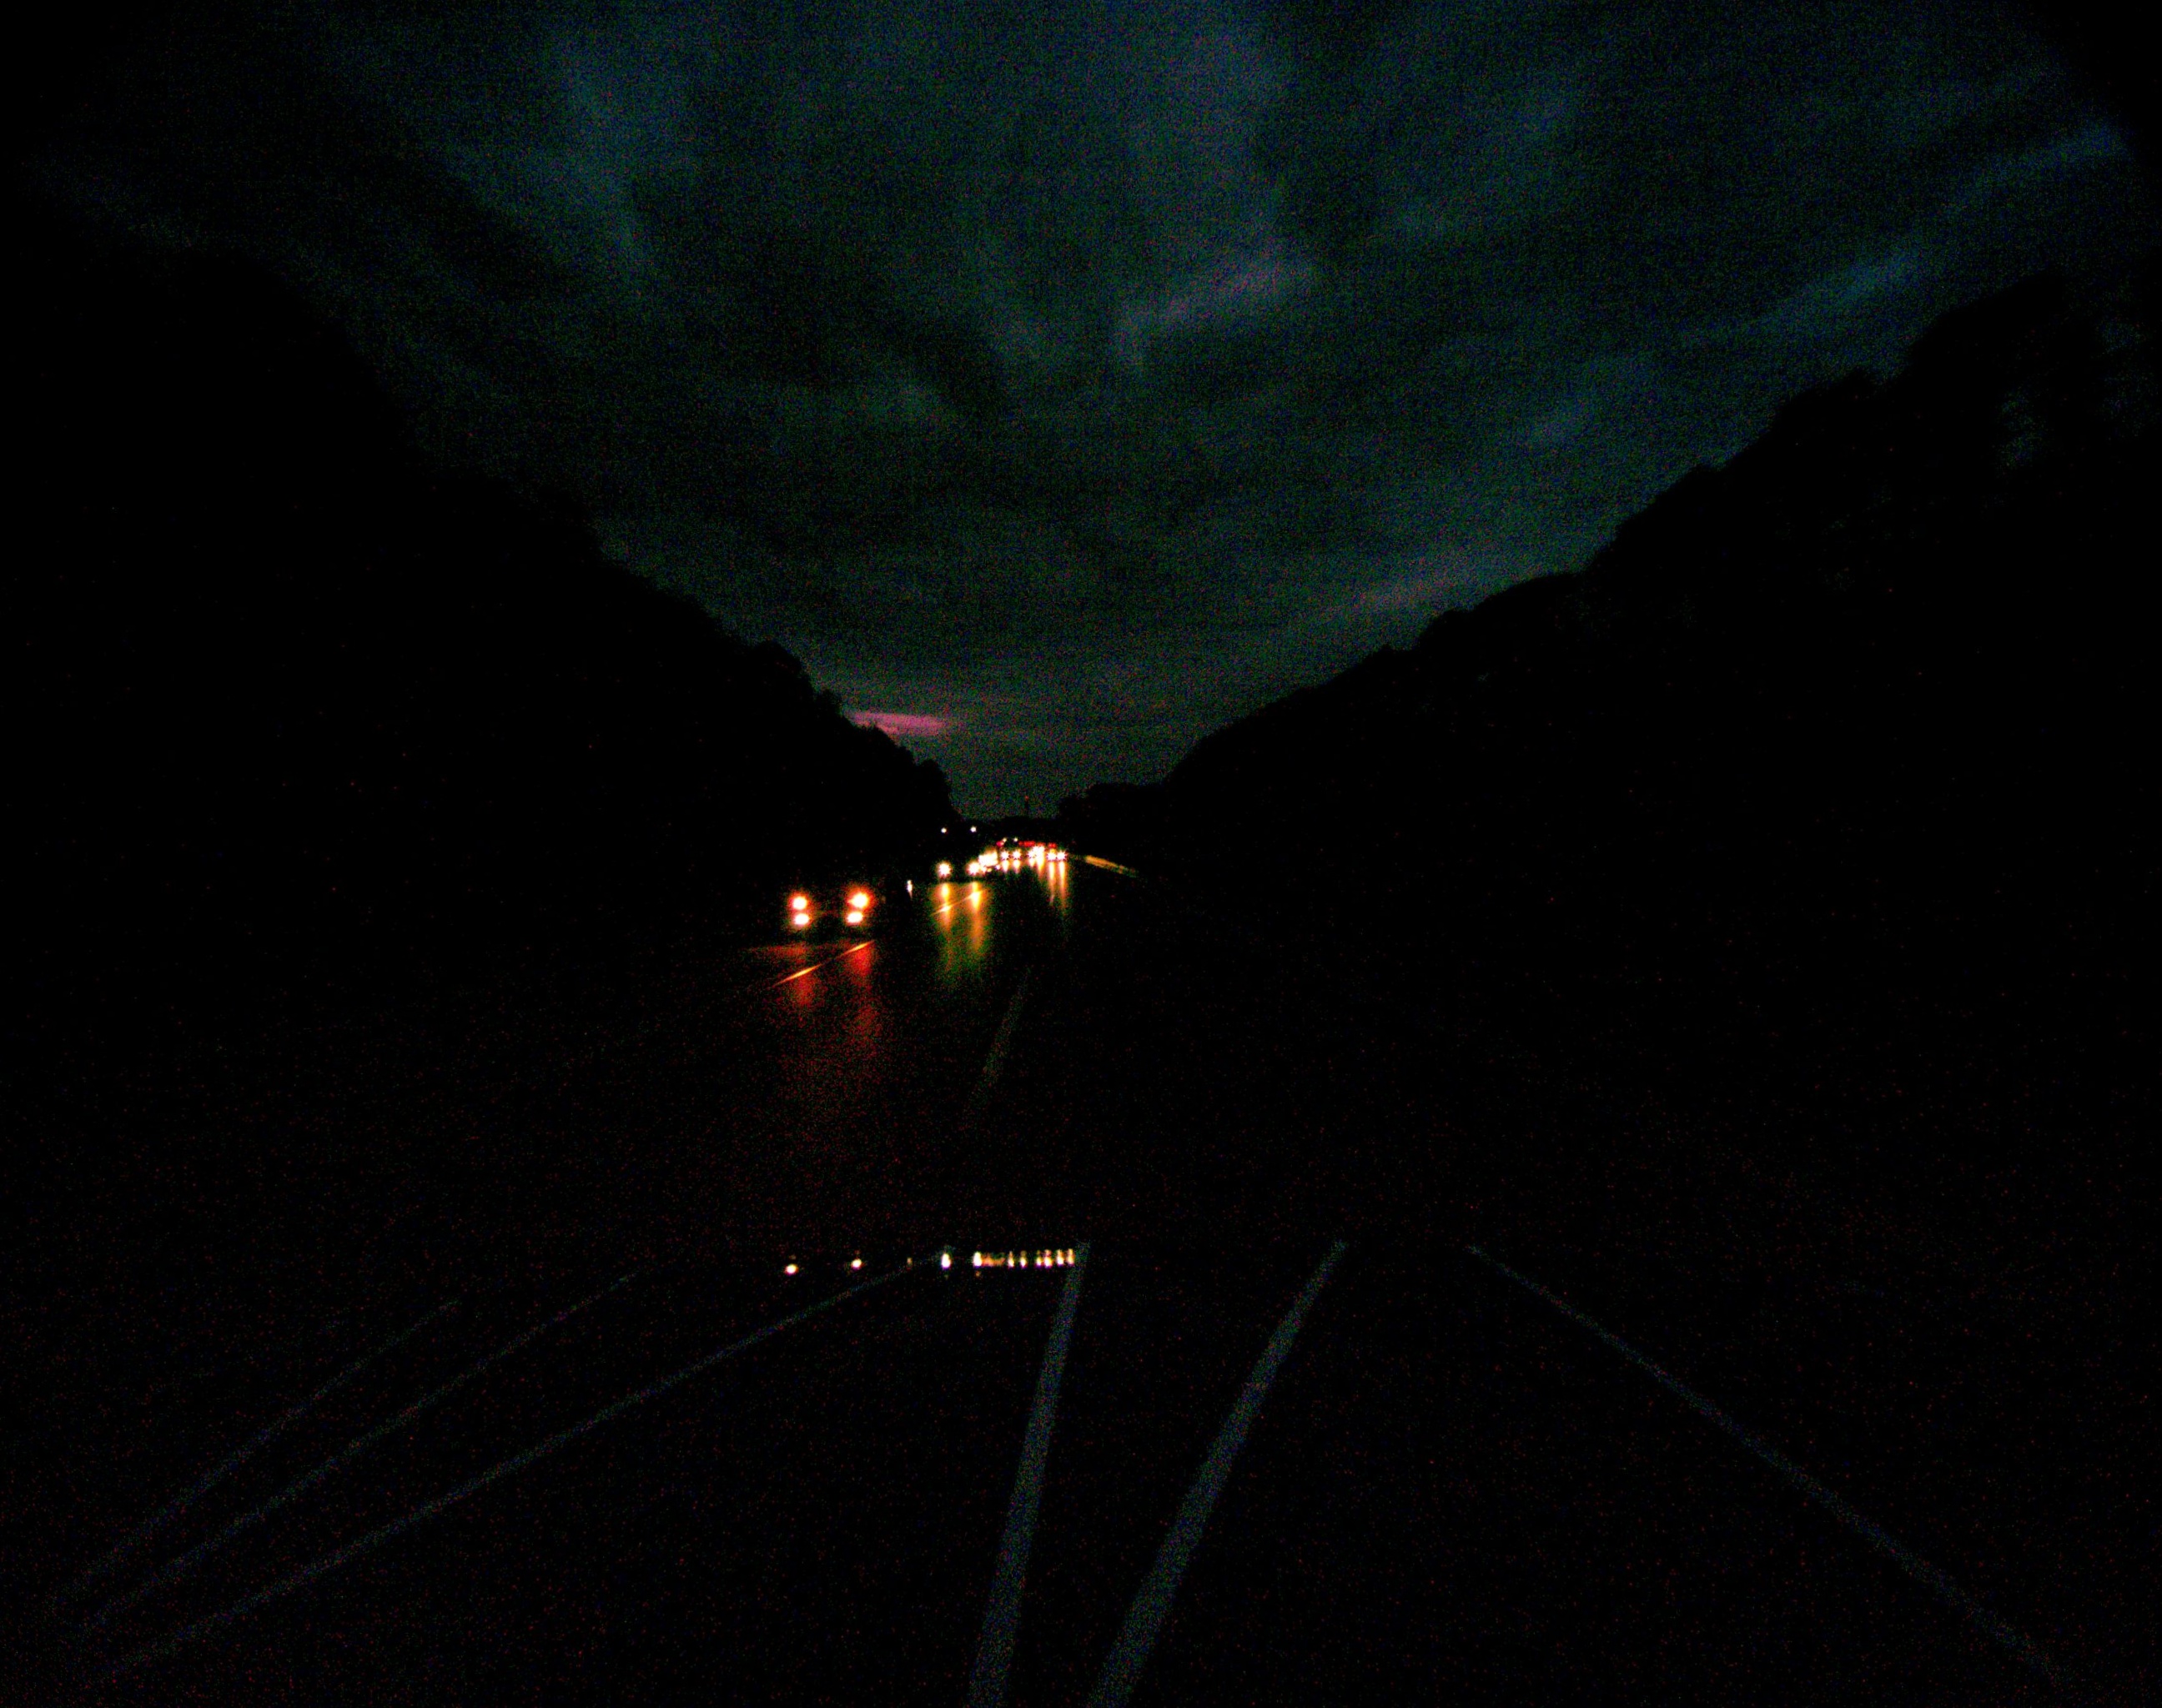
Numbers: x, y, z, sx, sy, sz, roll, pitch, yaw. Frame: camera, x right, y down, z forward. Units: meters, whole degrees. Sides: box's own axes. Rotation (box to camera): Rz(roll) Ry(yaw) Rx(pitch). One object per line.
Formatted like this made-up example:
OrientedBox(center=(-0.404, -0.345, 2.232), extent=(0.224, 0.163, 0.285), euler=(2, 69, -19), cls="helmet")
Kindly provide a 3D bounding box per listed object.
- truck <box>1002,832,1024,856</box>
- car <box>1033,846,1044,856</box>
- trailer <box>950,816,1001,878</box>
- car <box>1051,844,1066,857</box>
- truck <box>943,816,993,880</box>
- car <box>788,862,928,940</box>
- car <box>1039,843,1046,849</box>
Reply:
OrientedBox(center=(-11.776, -1.805, 132.807), extent=(3.342, 3.945, 13.528), euler=(-2, 1, -4), cls="truck")
OrientedBox(center=(-7.801, -0.506, 139.148), extent=(1.924, 1.706, 4.940), euler=(-3, 1, -5), cls="car")
OrientedBox(center=(-7.731, -0.642, 57.547), extent=(2.489, 4.050, 13.497), euler=(-2, 1, -3), cls="trailer")
OrientedBox(center=(-3.041, -0.477, 103.703), extent=(1.870, 1.701, 4.583), euler=(-3, 1, 0), cls="car")
OrientedBox(center=(-7.441, -0.450, 50.720), extent=(2.498, 3.945, 5.588), euler=(-2, 2, -2), cls="truck")
OrientedBox(center=(-5.106, 0.999, 18.182), extent=(1.695, 1.481, 4.949), euler=(-3, 0, 2), cls="car")
OrientedBox(center=(-10.368, -2.058, 203.615), extent=(1.696, 1.481, 4.946), euler=(-1, 1, -5), cls="car")
